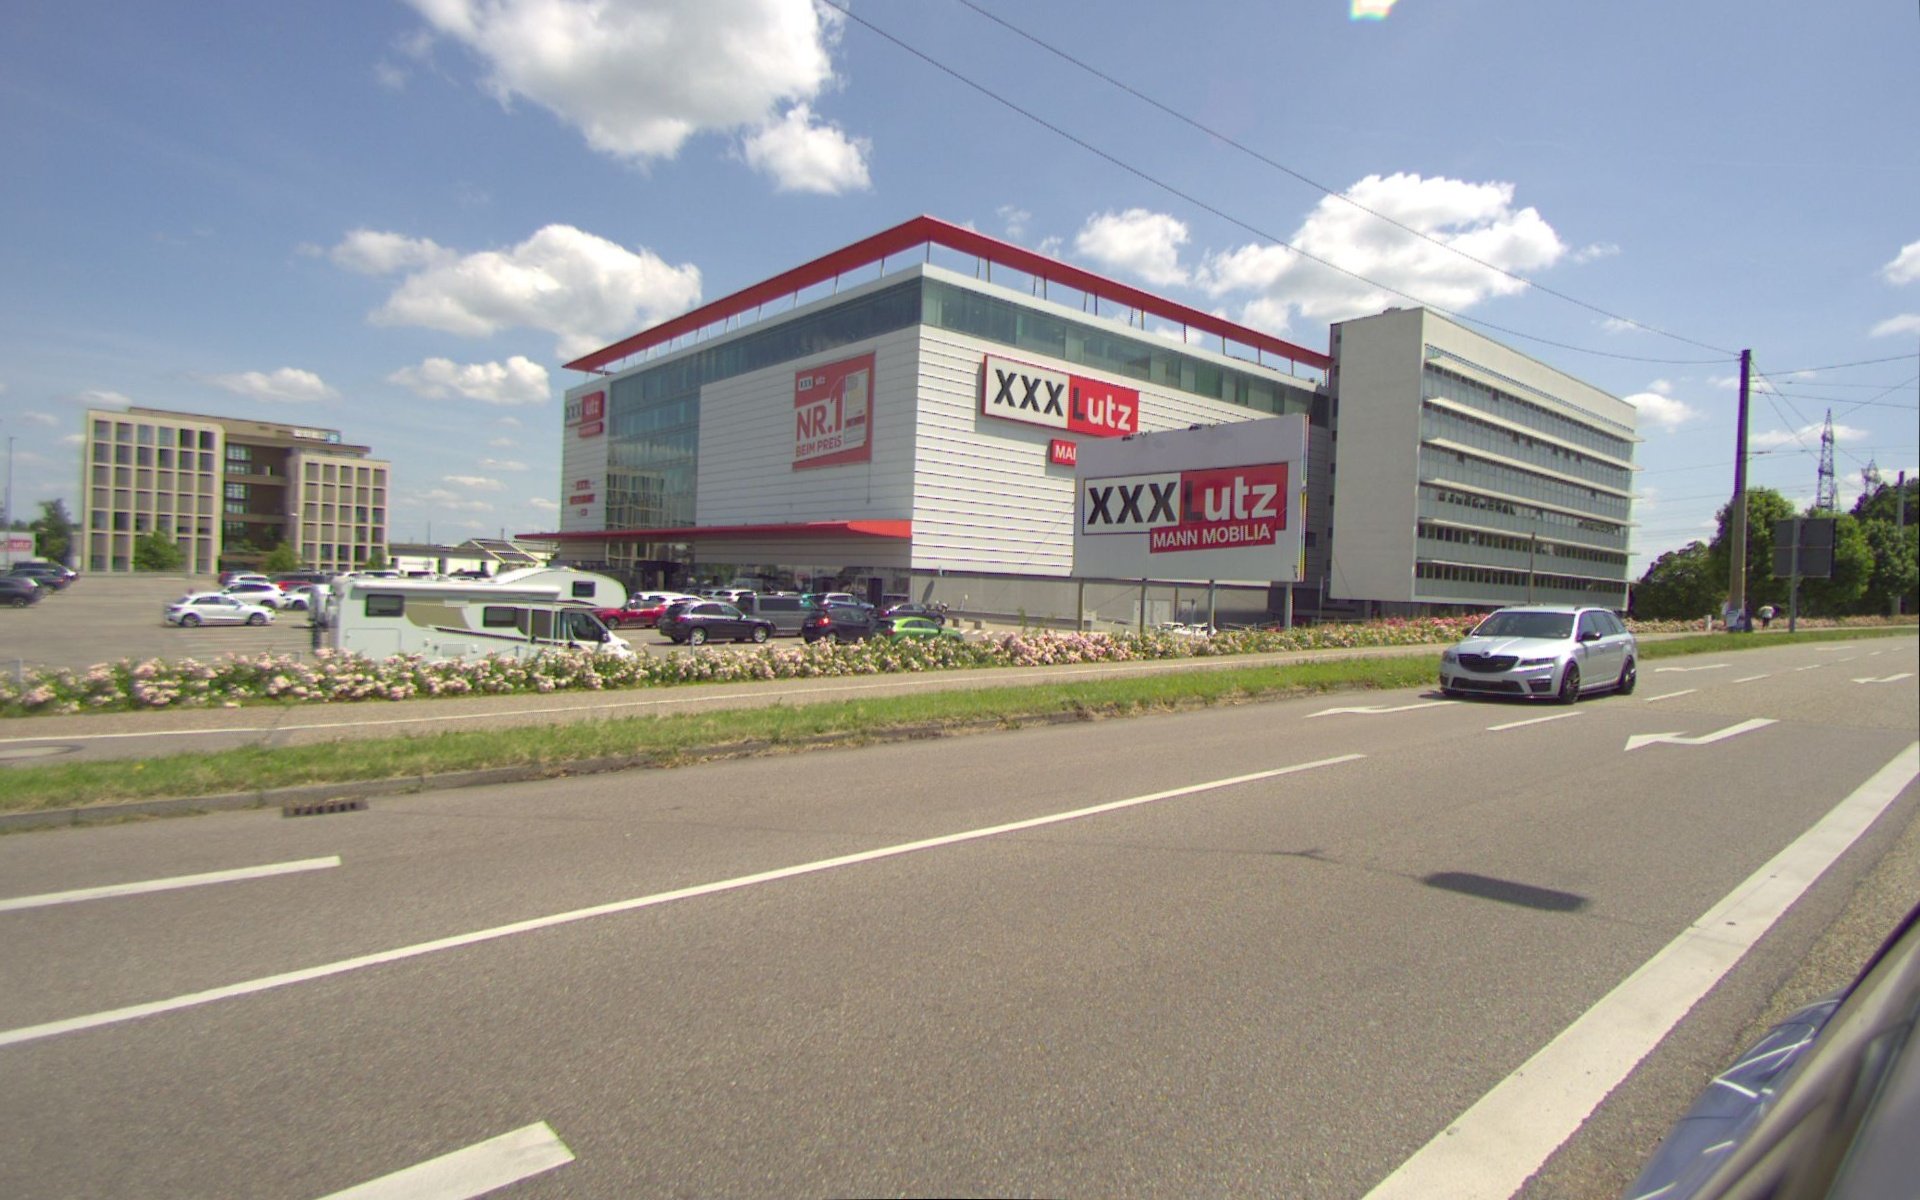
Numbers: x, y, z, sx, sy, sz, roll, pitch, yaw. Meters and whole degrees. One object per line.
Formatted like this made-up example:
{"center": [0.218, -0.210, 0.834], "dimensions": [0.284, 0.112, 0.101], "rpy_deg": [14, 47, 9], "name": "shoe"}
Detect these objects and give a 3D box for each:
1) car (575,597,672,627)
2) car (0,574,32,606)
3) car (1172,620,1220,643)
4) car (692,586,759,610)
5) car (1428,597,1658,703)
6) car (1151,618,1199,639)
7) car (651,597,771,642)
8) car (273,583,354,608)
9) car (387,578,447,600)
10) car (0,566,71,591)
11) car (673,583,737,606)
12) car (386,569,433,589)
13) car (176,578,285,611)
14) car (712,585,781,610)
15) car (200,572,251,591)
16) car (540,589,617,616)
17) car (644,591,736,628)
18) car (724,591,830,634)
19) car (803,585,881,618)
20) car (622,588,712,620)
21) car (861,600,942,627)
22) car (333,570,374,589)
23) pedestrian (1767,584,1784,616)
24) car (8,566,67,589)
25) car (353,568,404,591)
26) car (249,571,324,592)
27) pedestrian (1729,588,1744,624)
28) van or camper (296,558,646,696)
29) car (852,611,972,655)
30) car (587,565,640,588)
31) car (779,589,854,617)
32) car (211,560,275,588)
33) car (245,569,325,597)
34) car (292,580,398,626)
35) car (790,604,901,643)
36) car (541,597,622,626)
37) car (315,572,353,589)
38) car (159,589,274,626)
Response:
{"center": [-16.602, 0.557, 50.084], "dimensions": [4.181, 1.430, 1.858], "rpy_deg": [0, 0, -41], "name": "car"}
{"center": [-52.848, -0.544, 54.589], "dimensions": [4.054, 1.705, 1.996], "rpy_deg": [0, 0, -43], "name": "car"}
{"center": [19.330, 2.556, 82.815], "dimensions": [3.931, 1.668, 1.997], "rpy_deg": [0, 0, -42], "name": "car"}
{"center": [-17.176, -0.180, 74.281], "dimensions": [4.442, 1.714, 1.996], "rpy_deg": [0, 0, -42], "name": "car"}
{"center": [9.189, 0.678, 15.796], "dimensions": [4.382, 1.416, 1.801], "rpy_deg": [0, 0, -41], "name": "car"}
{"center": [18.202, 2.380, 85.596], "dimensions": [3.931, 1.668, 1.997], "rpy_deg": [0, 0, -42], "name": "car"}
{"center": [-10.328, 0.753, 42.121], "dimensions": [4.423, 1.738, 1.998], "rpy_deg": [0, 0, -40], "name": "car"}
{"center": [-38.588, -0.282, 60.439], "dimensions": [3.926, 1.457, 1.853], "rpy_deg": [0, 0, -37], "name": "car"}
{"center": [-44.746, -0.880, 83.477], "dimensions": [4.095, 1.723, 1.853], "rpy_deg": [0, 0, -38], "name": "car"}
{"center": [-66.340, -1.507, 72.443], "dimensions": [3.926, 1.705, 1.999], "rpy_deg": [0, 0, -37], "name": "car"}
{"center": [-19.769, -0.433, 78.646], "dimensions": [4.442, 1.714, 1.996], "rpy_deg": [0, 0, -42], "name": "car"}
{"center": [-57.538, -2.180, 105.823], "dimensions": [3.931, 2.039, 1.997], "rpy_deg": [0, 0, -42], "name": "car"}
{"center": [-40.161, -0.285, 55.791], "dimensions": [4.780, 1.723, 1.853], "rpy_deg": [0, 0, -37], "name": "car"}
{"center": [-15.289, -0.199, 72.602], "dimensions": [4.442, 1.714, 1.996], "rpy_deg": [0, 0, -42], "name": "car"}
{"center": [-72.004, -1.797, 99.280], "dimensions": [3.930, 1.750, 1.735], "rpy_deg": [0, 0, -41], "name": "car"}
{"center": [-25.613, 0.135, 67.986], "dimensions": [4.439, 1.756, 1.997], "rpy_deg": [0, 0, -40], "name": "car"}
{"center": [-14.615, 0.495, 54.892], "dimensions": [4.439, 1.918, 1.997], "rpy_deg": [0, 0, -40], "name": "car"}
{"center": [-8.465, 0.554, 46.982], "dimensions": [4.439, 1.918, 1.997], "rpy_deg": [0, 0, -40], "name": "car"}
{"center": [-7.326, 0.090, 63.119], "dimensions": [4.439, 1.946, 1.998], "rpy_deg": [0, 0, -40], "name": "car"}
{"center": [-16.477, 0.225, 56.976], "dimensions": [4.439, 1.756, 1.997], "rpy_deg": [0, 0, -40], "name": "car"}
{"center": [-3.239, 0.732, 56.401], "dimensions": [4.441, 1.418, 1.696], "rpy_deg": [0, 0, -42], "name": "car"}
{"center": [-61.371, -2.087, 102.373], "dimensions": [3.320, 1.828, 1.701], "rpy_deg": [0, 0, -39], "name": "car"}
{"center": [42.967, 0.016, 53.291], "dimensions": [0.623, 1.676, 0.599], "rpy_deg": [1, 0, -41], "name": "pedestrian"}
{"center": [-86.098, -2.063, 94.517], "dimensions": [3.929, 2.039, 1.998], "rpy_deg": [1, 0, -40], "name": "car"}
{"center": [-54.599, -1.929, 95.108], "dimensions": [3.926, 2.039, 1.999], "rpy_deg": [0, 0, -38], "name": "car"}
{"center": [-46.495, -1.260, 69.924], "dimensions": [4.178, 1.430, 1.859], "rpy_deg": [0, 0, -38], "name": "car"}
{"center": [39.488, 0.284, 51.475], "dimensions": [0.623, 1.816, 0.518], "rpy_deg": [1, 0, -41], "name": "pedestrian"}
{"center": [-11.964, 0.560, 25.247], "dimensions": [7.476, 2.983, 2.715], "rpy_deg": [0, 0, -39], "name": "van or camper"}
{"center": [-1.856, 1.255, 40.044], "dimensions": [4.437, 1.583, 1.999], "rpy_deg": [0, 0, -38], "name": "car"}
{"center": [-31.675, -2.099, 92.497], "dimensions": [4.209, 2.039, 1.849], "rpy_deg": [0, 0, -39], "name": "car"}
{"center": [-9.296, 0.186, 65.553], "dimensions": [4.439, 1.714, 1.998], "rpy_deg": [0, 0, -40], "name": "car"}
{"center": [-55.320, -2.009, 78.080], "dimensions": [3.929, 2.039, 1.544], "rpy_deg": [0, 0, -40], "name": "car"}
{"center": [-43.160, -1.079, 64.763], "dimensions": [4.095, 1.723, 1.853], "rpy_deg": [1, 1, -38], "name": "car"}
{"center": [-28.349, 0.131, 46.680], "dimensions": [3.929, 2.039, 1.998], "rpy_deg": [0, 0, -40], "name": "car"}
{"center": [-4.928, 0.989, 43.892], "dimensions": [4.439, 1.574, 1.997], "rpy_deg": [0, 0, -40], "name": "car"}
{"center": [-20.995, 0.601, 56.203], "dimensions": [3.928, 1.545, 1.649], "rpy_deg": [0, 0, -39], "name": "car"}
{"center": [-69.016, -2.156, 111.566], "dimensions": [3.320, 1.828, 1.701], "rpy_deg": [0, 0, -39], "name": "car"}
{"center": [-33.555, 0.323, 45.731], "dimensions": [1.849, 1.565, 3.936], "rpy_deg": [1, 0, 44], "name": "car"}
